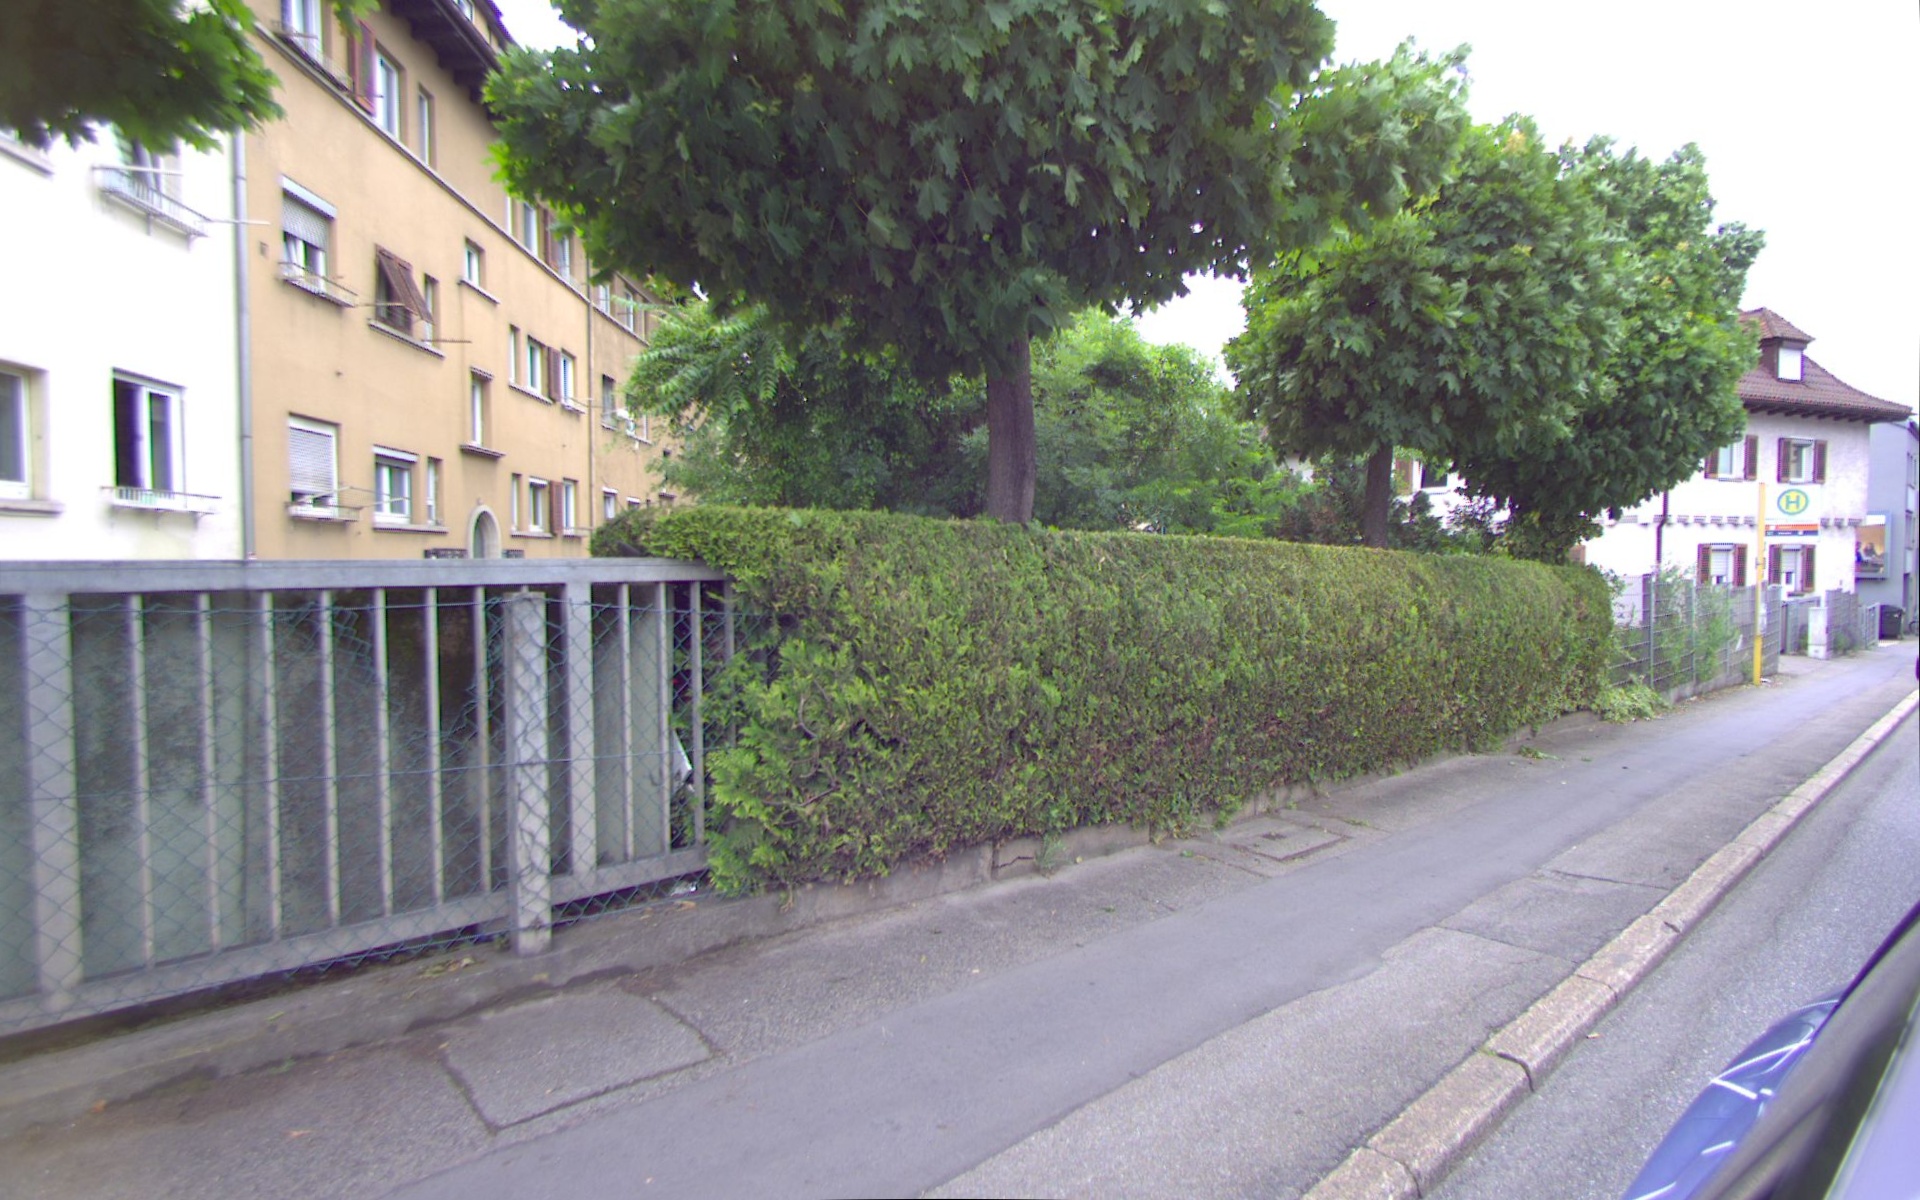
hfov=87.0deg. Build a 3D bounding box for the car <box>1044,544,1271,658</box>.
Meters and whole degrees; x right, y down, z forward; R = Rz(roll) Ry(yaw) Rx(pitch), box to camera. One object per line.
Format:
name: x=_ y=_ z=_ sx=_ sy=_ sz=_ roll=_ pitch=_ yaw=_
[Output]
car: x=3.729 y=0.003 z=19.679 sx=3.923 sy=2.039 sz=2.001 roll=1 pitch=1 yaw=-1
